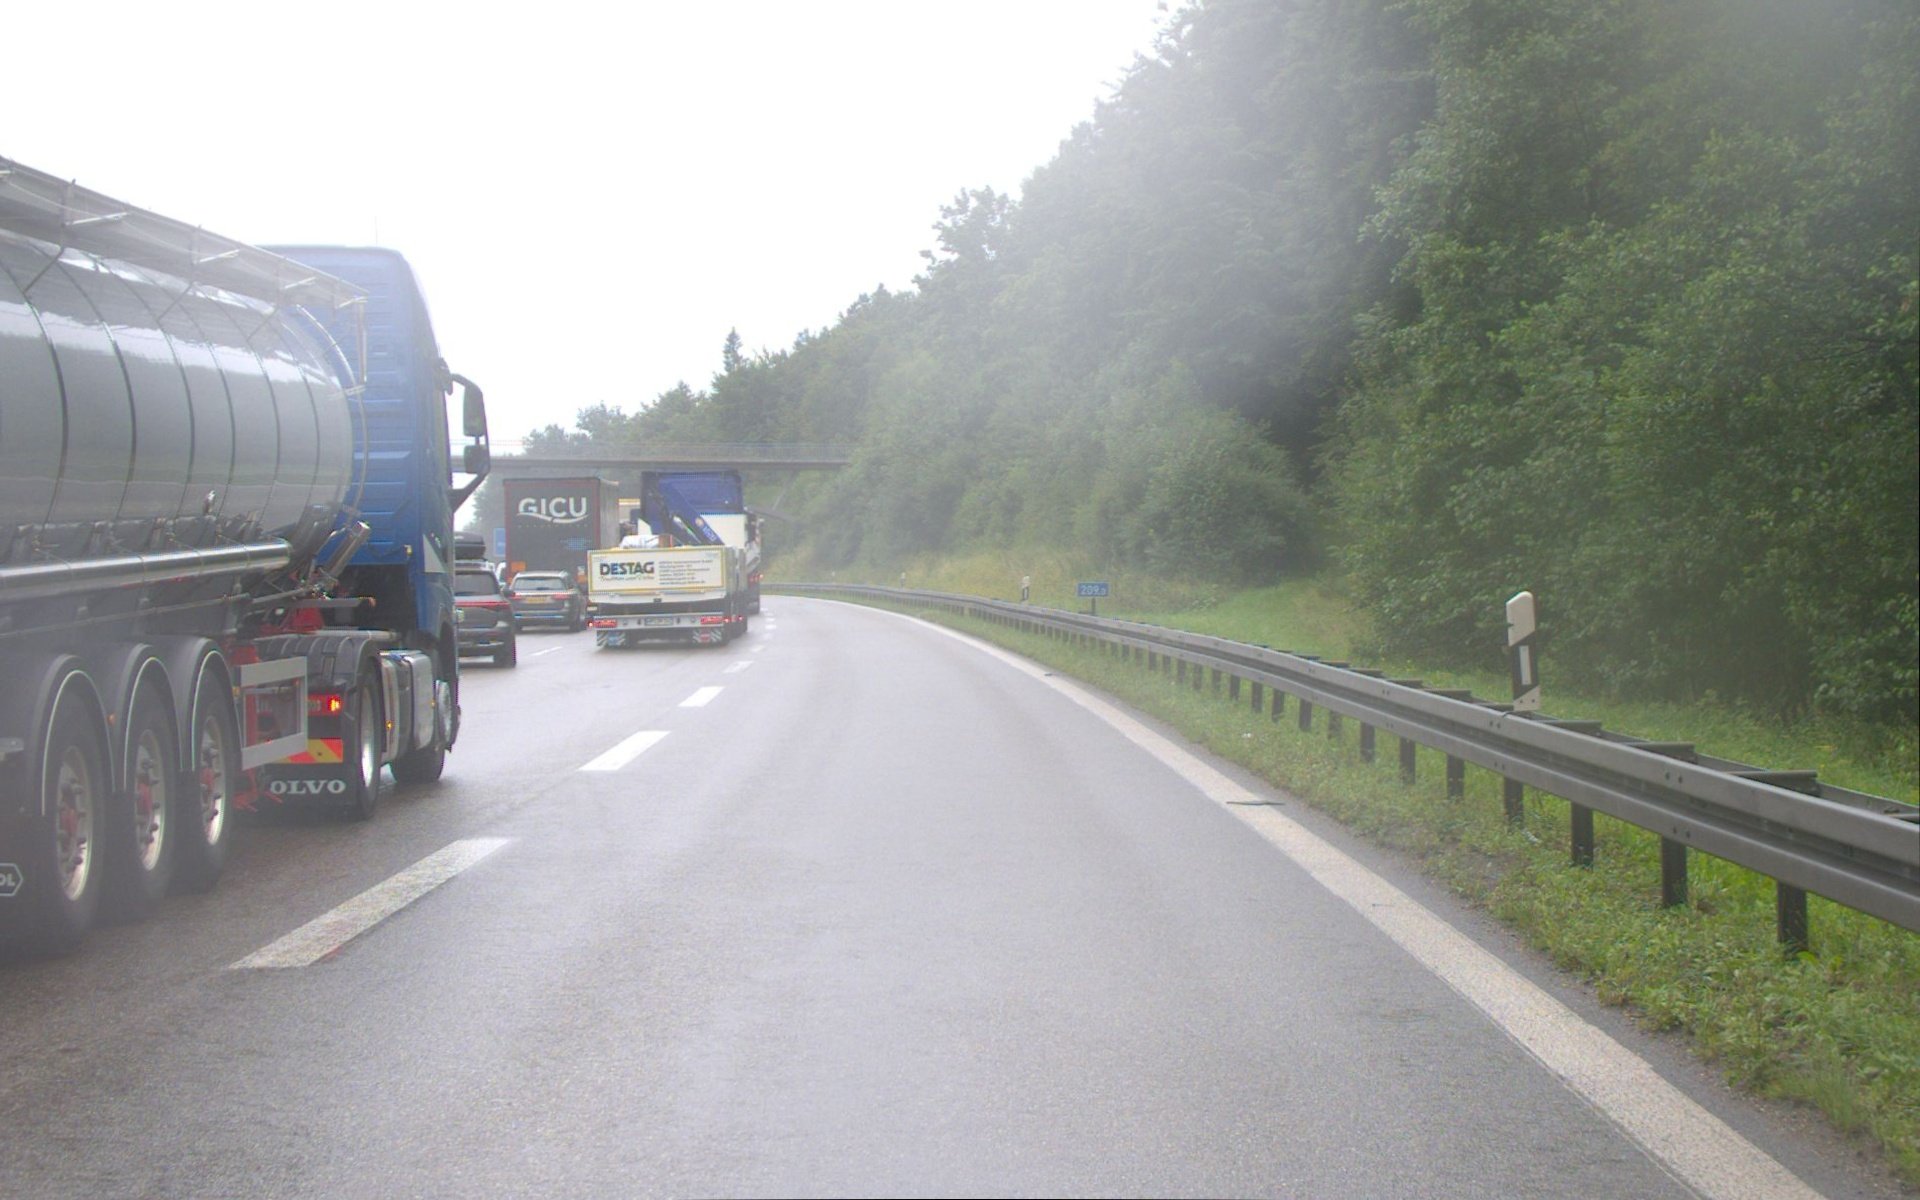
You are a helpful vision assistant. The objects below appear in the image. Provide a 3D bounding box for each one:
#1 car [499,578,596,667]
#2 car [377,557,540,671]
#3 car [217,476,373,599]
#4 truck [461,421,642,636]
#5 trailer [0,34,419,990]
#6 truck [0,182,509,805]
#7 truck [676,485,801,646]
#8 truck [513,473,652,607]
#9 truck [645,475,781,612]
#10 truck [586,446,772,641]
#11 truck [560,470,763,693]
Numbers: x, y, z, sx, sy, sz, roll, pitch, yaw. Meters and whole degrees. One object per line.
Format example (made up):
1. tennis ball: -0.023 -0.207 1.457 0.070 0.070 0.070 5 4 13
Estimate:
1. car: -9.906 0.565 82.795 1.793 2.007 4.000 3 -1 -1
2. car: -7.868 0.253 54.249 1.993 1.630 4.000 3 -1 -1
3. car: -11.108 -1.014 57.686 1.797 1.832 4.000 3 -1 -1
4. truck: -11.414 -1.875 97.250 3.754 5.480 10.172 3 -1 -1
5. trailer: -4.749 -0.354 16.090 2.873 3.277 10.078 0 1 0
6. truck: -4.787 -0.660 22.911 2.877 3.681 5.056 0 1 0
7. truck: -8.563 -1.233 133.706 4.336 5.744 9.731 3 -1 -3
8. truck: -12.439 -1.892 114.302 3.576 4.082 10.879 0 -1 -1
9. truck: -8.100 -1.776 114.328 3.754 3.957 11.059 3 -1 -1
10. truck: -6.822 -1.252 85.217 3.507 4.253 10.602 3 -1 0
11. truck: -5.850 -0.407 69.433 3.599 4.091 11.561 0 1 -3
